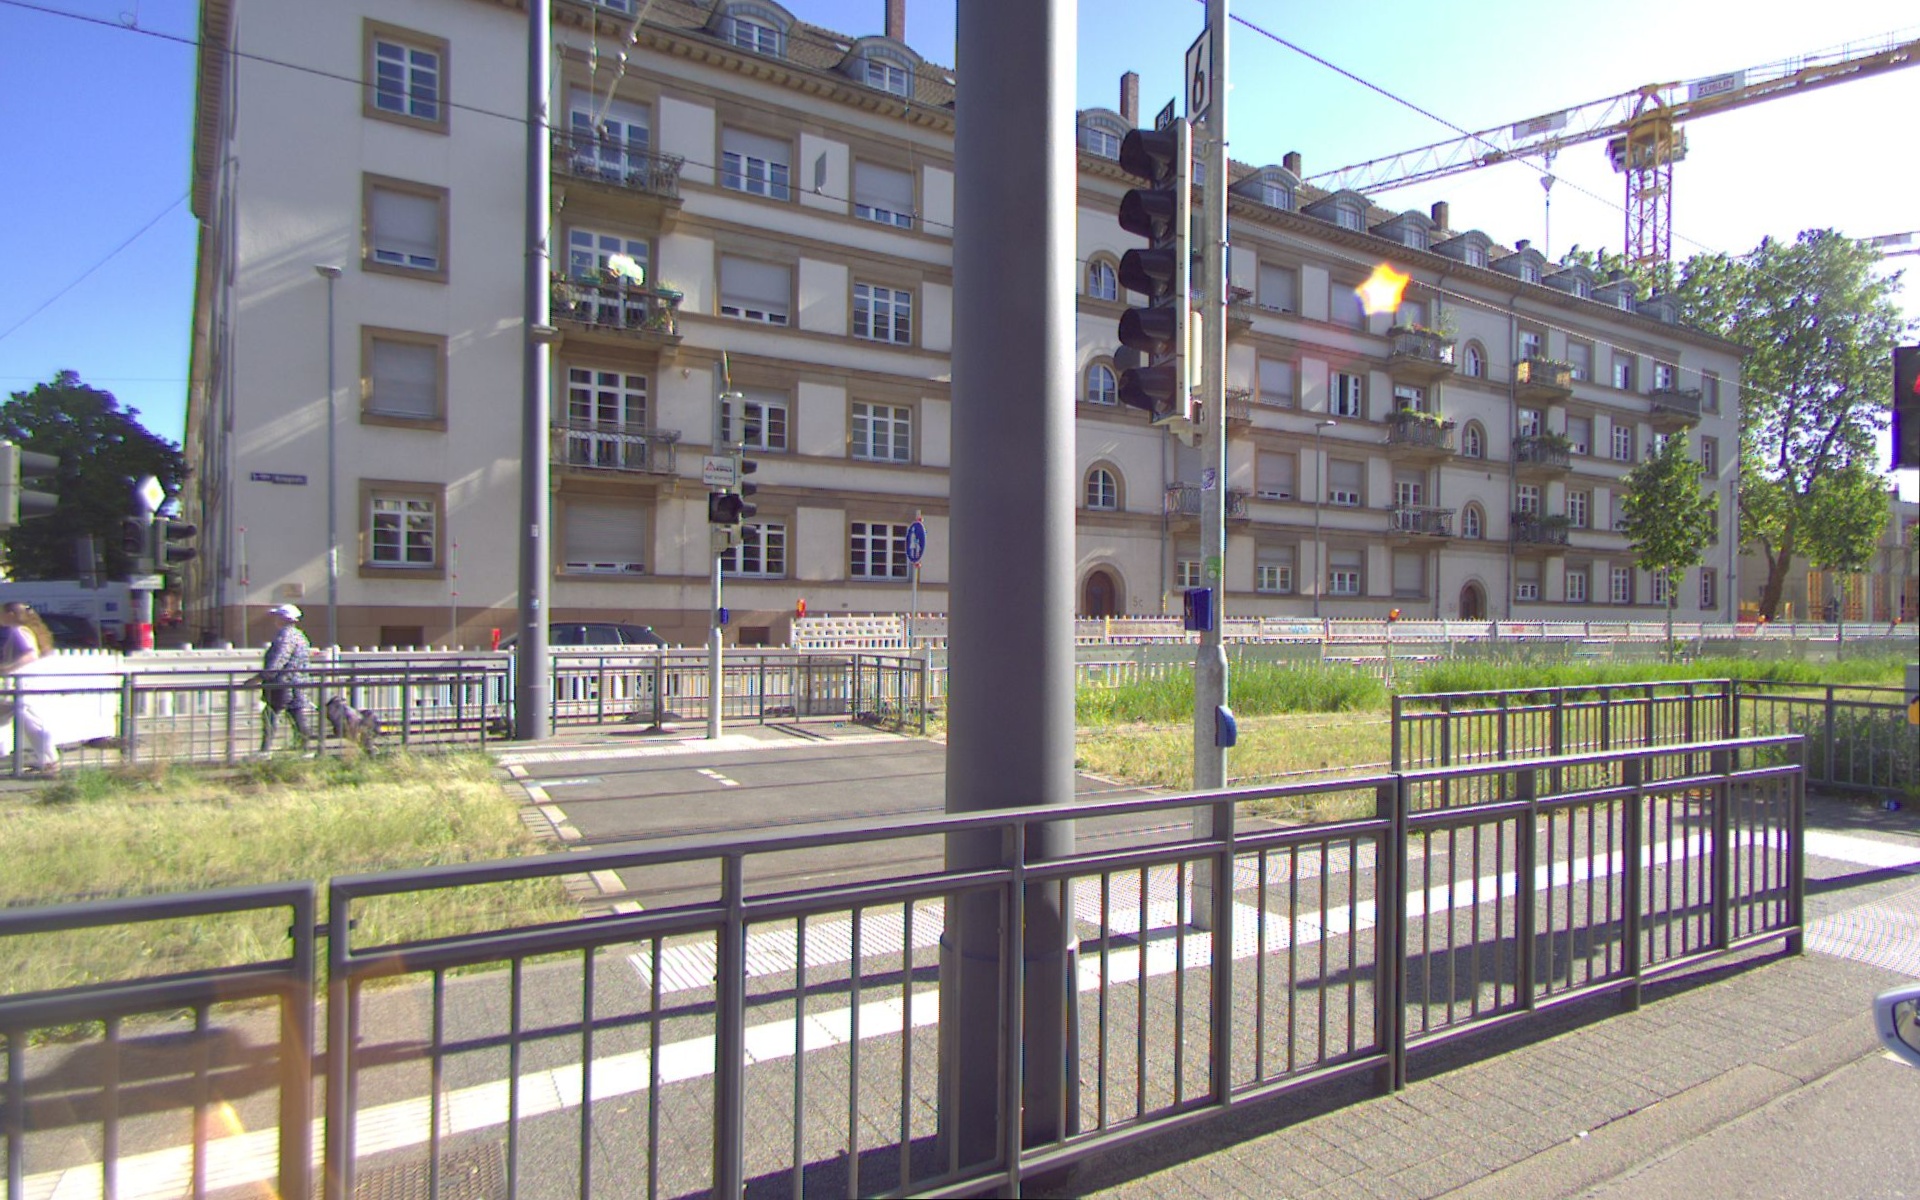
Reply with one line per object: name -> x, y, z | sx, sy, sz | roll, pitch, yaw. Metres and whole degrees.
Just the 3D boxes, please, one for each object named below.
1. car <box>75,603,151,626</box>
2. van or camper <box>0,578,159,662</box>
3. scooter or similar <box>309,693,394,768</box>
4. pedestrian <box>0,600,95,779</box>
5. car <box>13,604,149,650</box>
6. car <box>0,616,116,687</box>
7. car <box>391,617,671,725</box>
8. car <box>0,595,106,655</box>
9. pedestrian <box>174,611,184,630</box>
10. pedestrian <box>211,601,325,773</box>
car -> -58.388, 1.012, 69.270 | 1.730, 1.480, 3.854 | -1, -1, 43
van or camper -> -27.920, 0.599, 30.205 | 5.911, 2.432, 1.976 | 1, -1, -42
scooter or similar -> -6.148, 1.309, 10.174 | 0.701, 0.660, 0.512 | 1, 0, -30
pedestrian -> -8.721, 0.790, 9.225 | 0.854, 1.557, 0.906 | 1, 0, -17
car -> -35.549, 1.090, 40.762 | 3.963, 1.799, 1.724 | 1, -1, -37
car -> -21.460, 1.141, 22.665 | 3.642, 1.542, 1.672 | 1, -1, -39
car -> -6.866, 1.063, 16.144 | 3.953, 1.536, 1.808 | 1, -1, -30
car -> -25.127, 0.649, 26.673 | 3.635, 1.542, 1.672 | 1, -1, -39
pedestrian -> -76.220, 2.012, 98.002 | 0.682, 1.778, 0.808 | 1, -1, -36
pedestrian -> -6.637, 0.797, 9.679 | 0.805, 1.557, 0.791 | 1, 0, -30
